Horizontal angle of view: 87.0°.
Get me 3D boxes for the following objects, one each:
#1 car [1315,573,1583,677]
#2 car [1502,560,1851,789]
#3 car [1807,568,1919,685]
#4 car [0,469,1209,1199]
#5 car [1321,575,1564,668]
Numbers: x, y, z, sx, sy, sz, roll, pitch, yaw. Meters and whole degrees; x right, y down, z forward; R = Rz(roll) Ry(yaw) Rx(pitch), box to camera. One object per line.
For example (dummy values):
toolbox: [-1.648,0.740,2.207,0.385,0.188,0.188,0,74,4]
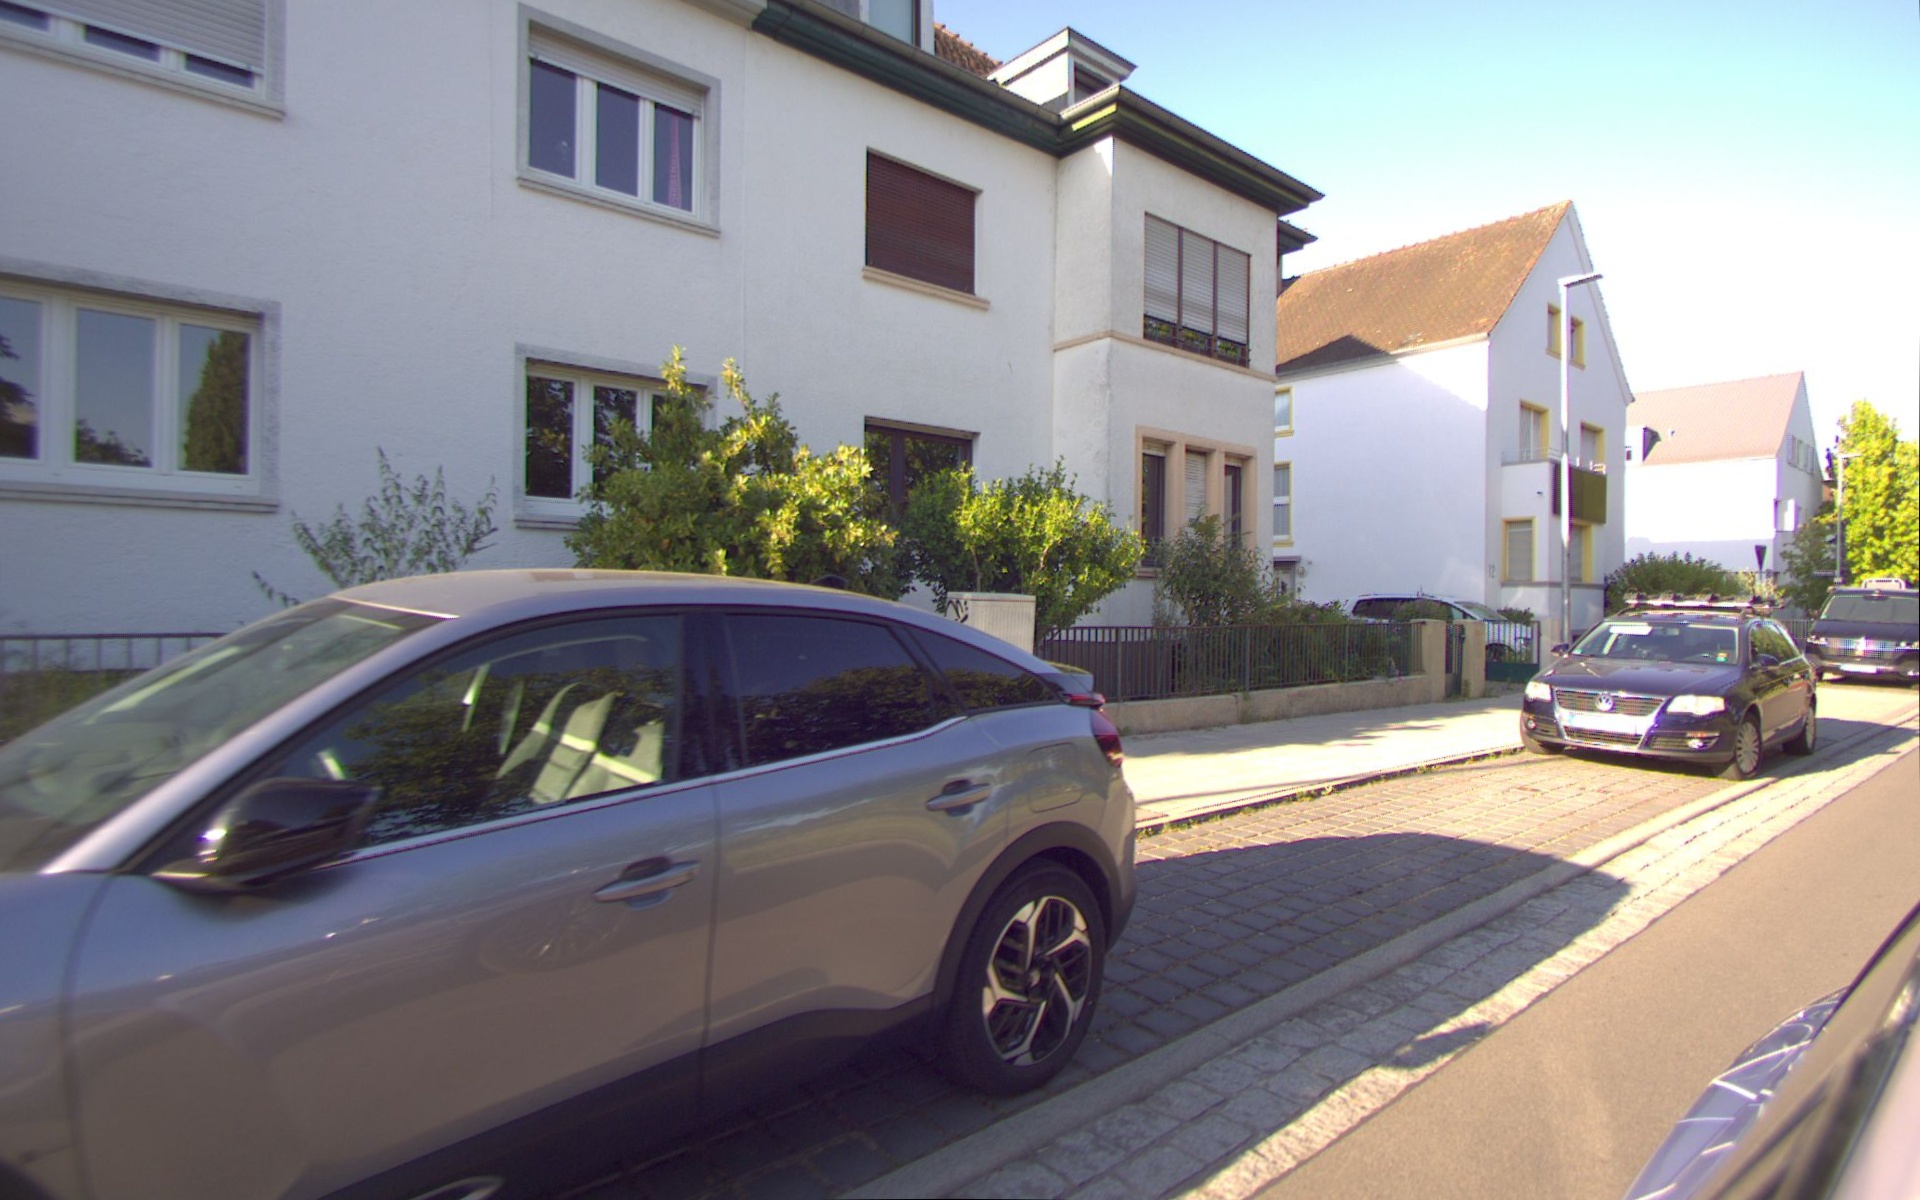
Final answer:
car: [9.194,0.375,19.266,1.822,1.747,4.222,0,1,-43]
car: [7.302,0.583,10.137,4.393,1.793,1.798,1,2,-41]
car: [19.386,0.508,20.987,4.728,2.158,1.911,1,2,-40]
car: [-1.231,0.574,2.724,4.140,1.593,1.720,0,2,-44]
car: [9.995,0.420,21.185,1.822,1.748,4.220,0,-1,-43]
